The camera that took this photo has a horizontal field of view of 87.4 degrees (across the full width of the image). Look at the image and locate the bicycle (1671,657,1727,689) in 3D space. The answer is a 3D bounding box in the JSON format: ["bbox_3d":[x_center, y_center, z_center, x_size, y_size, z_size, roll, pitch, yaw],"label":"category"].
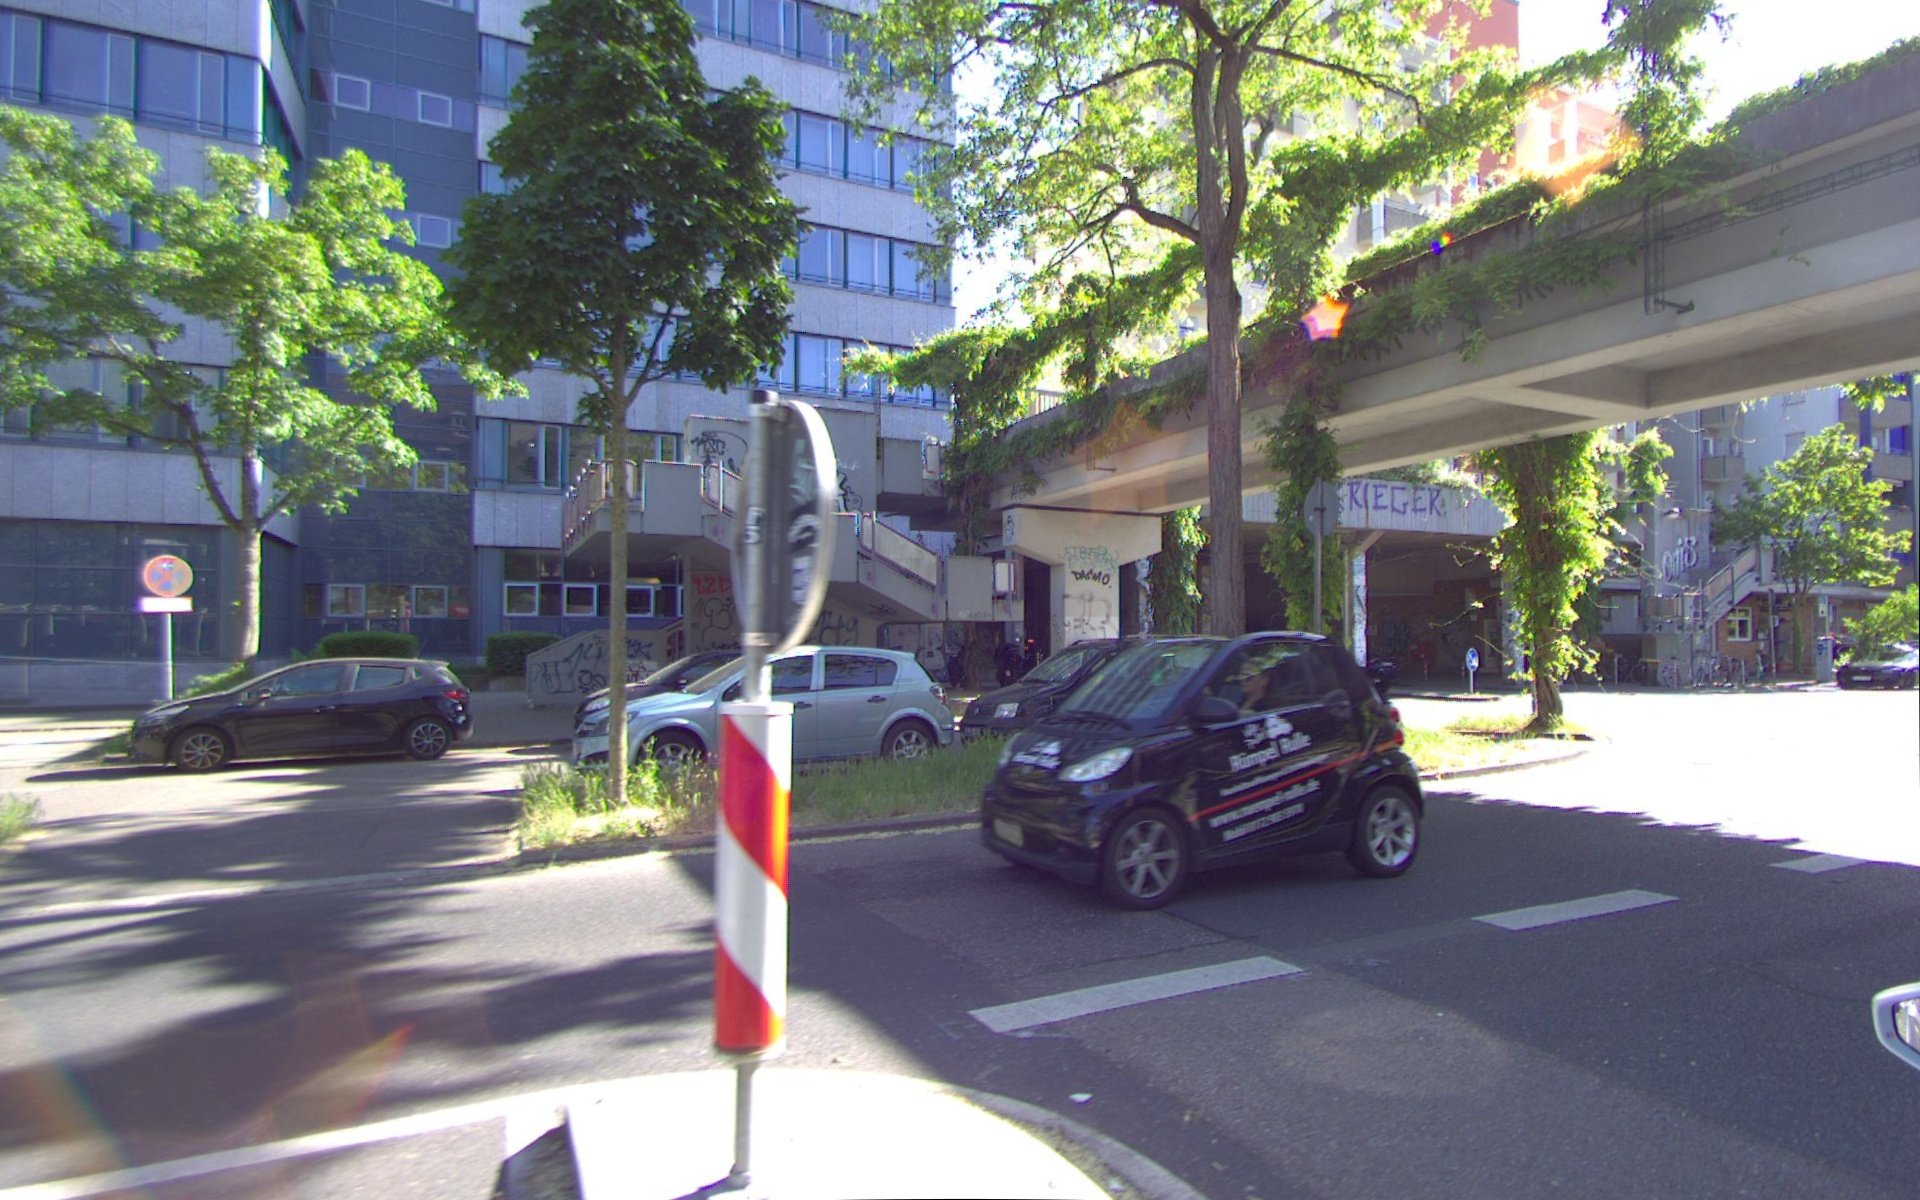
[{"bbox_3d":[25.471,2.503,34.613,1.769,1.045,0.414,0,1,-10],"label":"bicycle"}]

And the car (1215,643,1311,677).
[{"bbox_3d":[13.136,2.589,43.819,1.744,1.429,4.037,1,-3,-26],"label":"car"}]

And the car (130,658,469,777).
[{"bbox_3d":[-9.030,1.552,14.106,3.755,1.422,1.674,1,-3,-29],"label":"car"}]

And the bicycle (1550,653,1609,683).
[{"bbox_3d":[22.457,2.439,36.442,0.479,1.014,1.785,0,-1,-33],"label":"bicycle"}]

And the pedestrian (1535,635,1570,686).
[{"bbox_3d":[20.939,2.131,35.495,0.786,1.722,0.752,1,0,-27],"label":"pedestrian"}]

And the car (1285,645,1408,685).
[{"bbox_3d":[15.080,2.521,39.437,1.832,1.451,4.581,3,-3,-24],"label":"car"}]

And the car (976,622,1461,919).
[{"bbox_3d":[1.662,0.948,6.544,2.779,1.547,1.463,1,-3,-26],"label":"car"}]

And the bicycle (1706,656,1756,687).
[{"bbox_3d":[27.200,2.509,35.427,1.773,1.014,0.414,0,1,-17],"label":"bicycle"}]

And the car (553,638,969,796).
[{"bbox_3d":[-2.152,1.210,11.096,4.228,1.466,1.647,1,-6,-28],"label":"car"}]

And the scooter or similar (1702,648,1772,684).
[{"bbox_3d":[29.048,2.438,37.581,0.623,1.294,1.957,0,-2,-30],"label":"scooter or similar"}]

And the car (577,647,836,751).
[{"bbox_3d":[-4.227,1.576,16.811,3.947,1.550,1.727,1,-3,-26],"label":"car"}]

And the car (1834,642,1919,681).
[{"bbox_3d":[39.173,2.553,41.714,1.748,1.571,3.970,1,-3,-29],"label":"car"}]

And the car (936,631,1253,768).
[{"bbox_3d":[1.741,1.229,13.035,3.729,1.558,1.735,1,-5,-26],"label":"car"}]

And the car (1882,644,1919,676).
[{"bbox_3d":[43.842,2.673,44.593,1.667,1.443,3.970,1,-3,-29],"label":"car"}]

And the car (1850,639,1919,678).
[{"bbox_3d":[41.431,2.515,43.473,1.819,1.628,3.970,1,-3,-29],"label":"car"}]

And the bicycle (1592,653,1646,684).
[{"bbox_3d":[23.649,2.449,36.060,1.594,1.014,0.413,0,0,42],"label":"bicycle"}]

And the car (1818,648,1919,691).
[{"bbox_3d":[32.175,2.378,34.891,4.466,1.416,1.886,1,-3,-24],"label":"car"}]

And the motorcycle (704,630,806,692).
[{"bbox_3d":[-4.376,1.294,21.492,2.027,1.287,0.727,1,-2,-27],"label":"motorcycle"}]
